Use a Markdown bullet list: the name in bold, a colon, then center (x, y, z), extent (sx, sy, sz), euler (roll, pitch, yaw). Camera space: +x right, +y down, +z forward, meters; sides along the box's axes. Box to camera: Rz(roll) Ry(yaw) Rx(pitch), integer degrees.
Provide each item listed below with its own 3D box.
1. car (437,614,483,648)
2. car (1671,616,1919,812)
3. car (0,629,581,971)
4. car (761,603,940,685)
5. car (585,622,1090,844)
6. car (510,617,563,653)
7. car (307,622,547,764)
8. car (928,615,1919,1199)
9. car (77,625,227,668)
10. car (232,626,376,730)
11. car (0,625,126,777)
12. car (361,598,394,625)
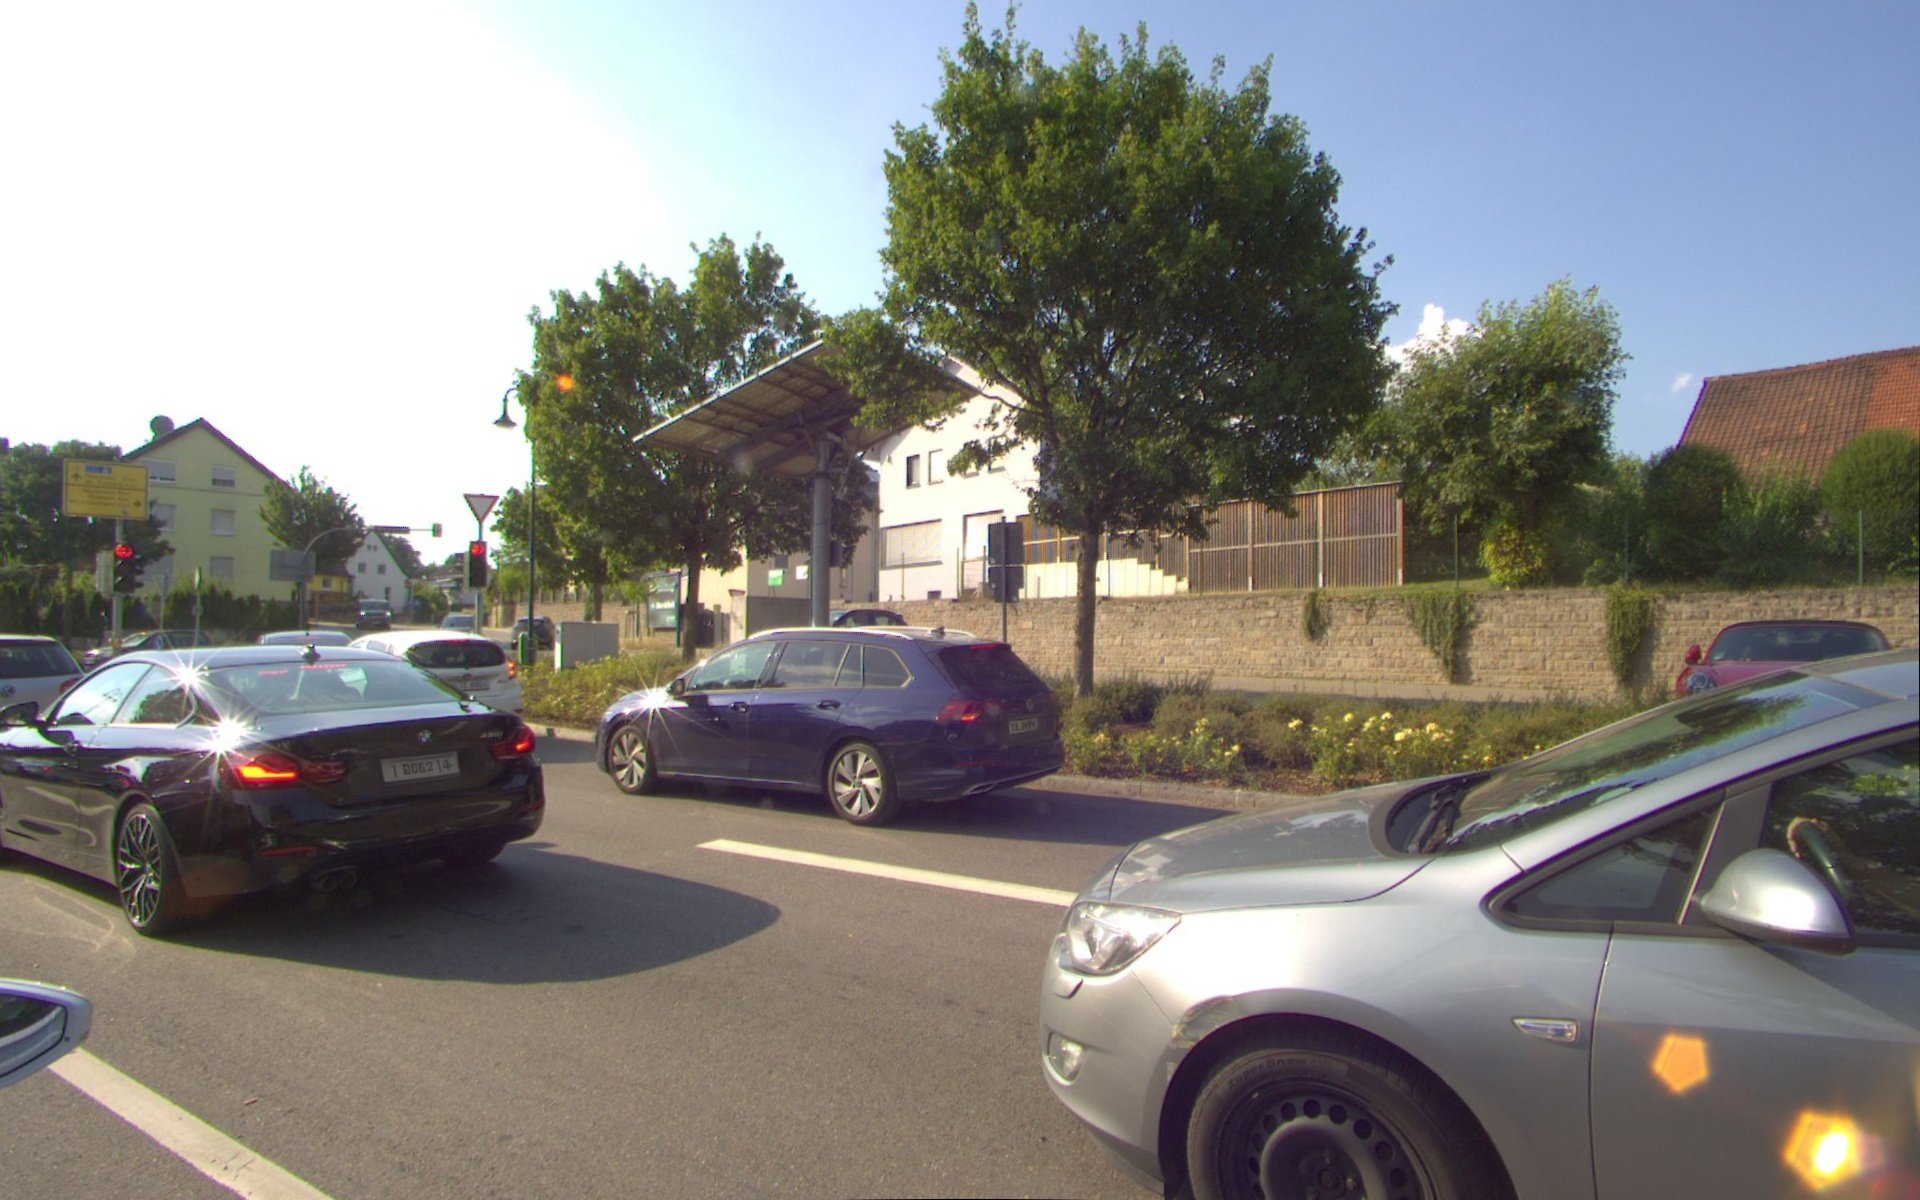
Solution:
- **car**: center (-25.591, 1.608, 51.370), extent (1.818, 1.662, 4.418), euler (1, -2, -23)
- **car**: center (8.240, 0.946, 9.725), extent (1.758, 1.510, 4.120), euler (-1, -2, 41)
- **car**: center (-4.420, 0.910, 6.168), extent (4.220, 1.416, 1.758), euler (-1, 0, 33)
- **car**: center (-2.361, 0.955, 22.279), extent (1.758, 1.653, 3.800), euler (-1, -2, 40)
- **car**: center (-1.182, 0.945, 8.686), extent (4.259, 1.472, 1.757), euler (-1, 0, 34)
- **car**: center (-21.244, 1.736, 50.398), extent (1.936, 1.701, 4.209), euler (0, -1, -16)
- **car**: center (-6.902, 1.076, 12.870), extent (3.278, 1.562, 1.611), euler (-1, 0, 40)
- **car**: center (2.188, 0.778, 2.143), extent (4.256, 1.472, 1.758), euler (-1, 0, 31)
- **car**: center (-30.054, 1.713, 37.349), extent (1.821, 1.508, 3.983), euler (-1, -2, 30)
- **car**: center (-11.737, 1.266, 17.797), extent (1.643, 1.562, 4.362), euler (-1, 0, -40)
- **car**: center (-10.790, 1.008, 10.762), extent (3.848, 1.444, 1.758), euler (-1, 0, 33)
- **car**: center (-39.841, 0.842, 68.405), extent (1.823, 1.761, 4.758), euler (1, -2, -32)
